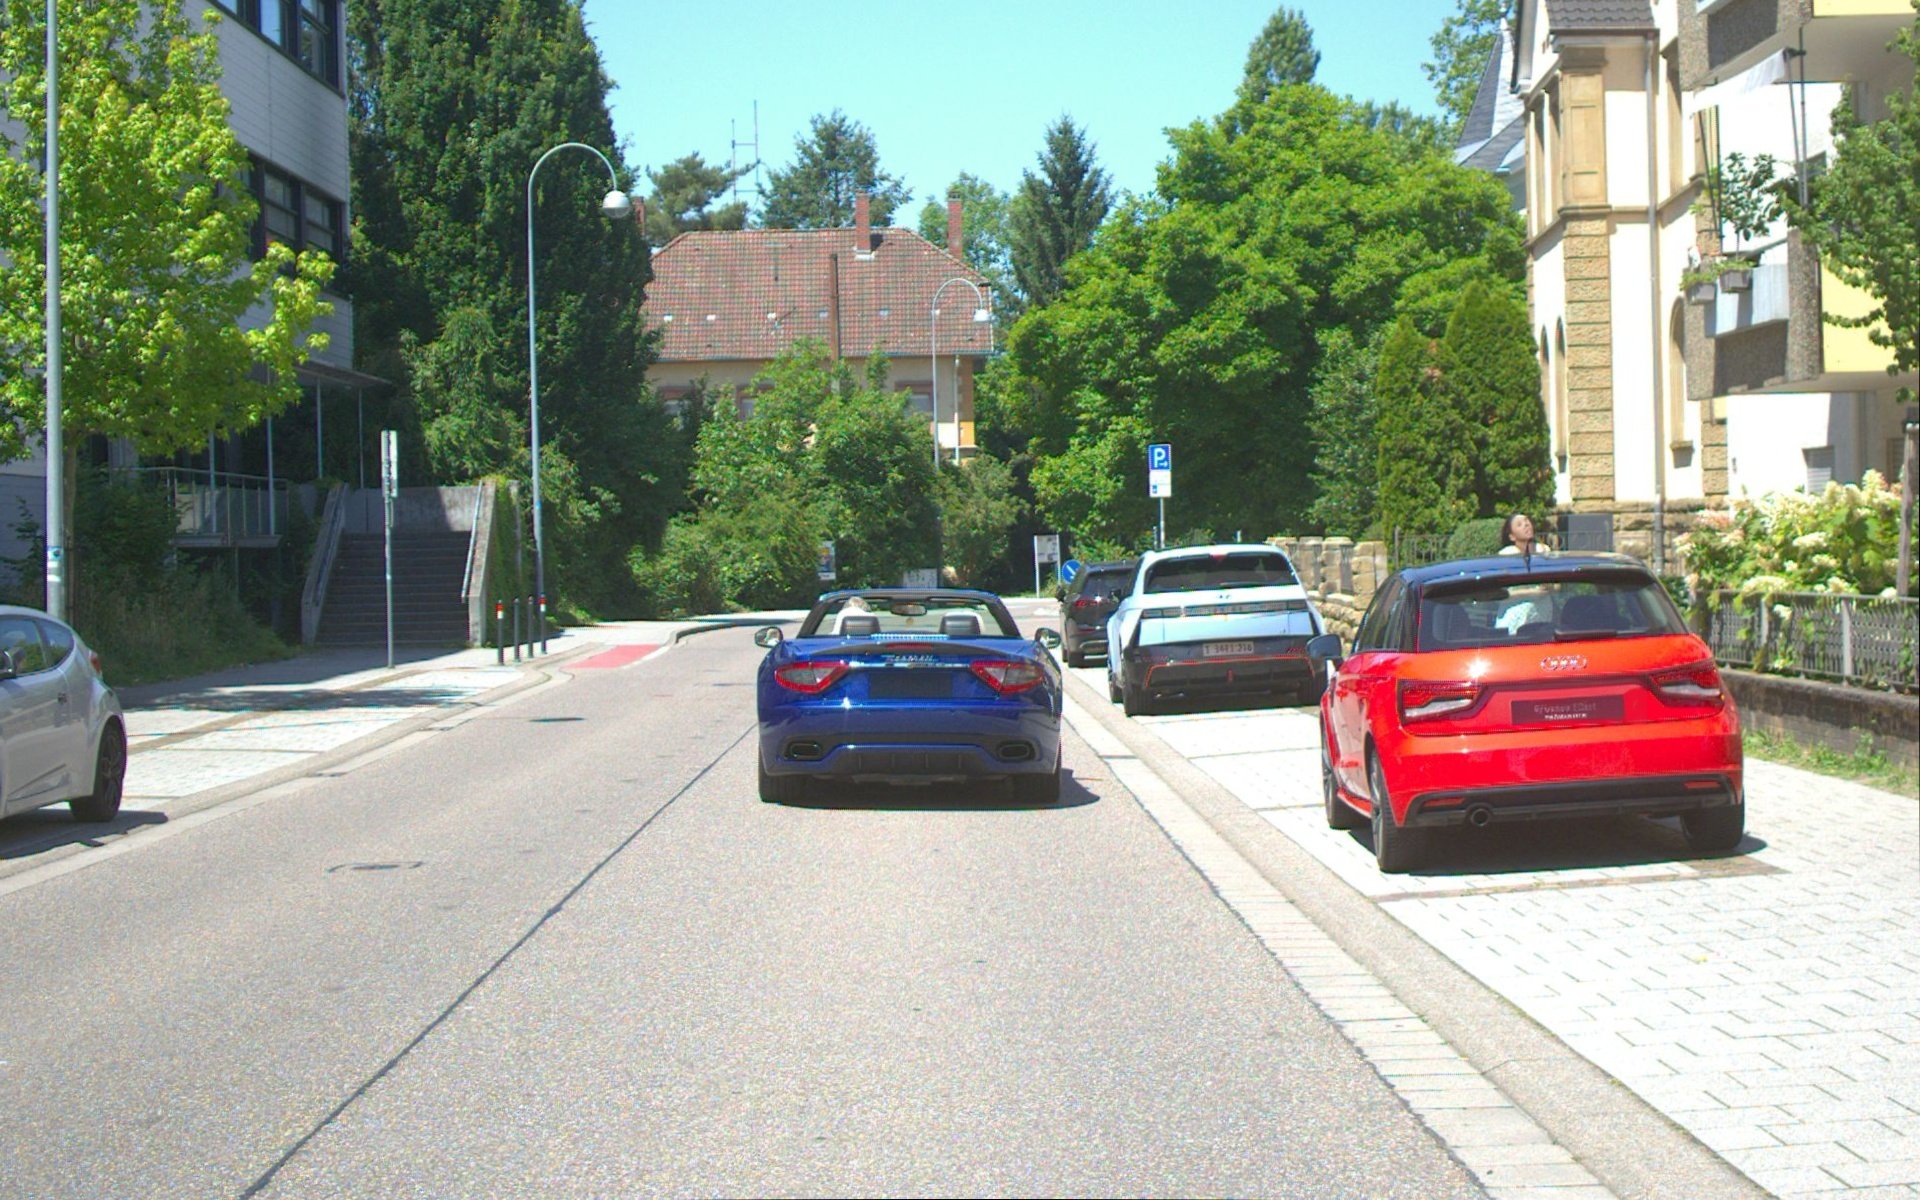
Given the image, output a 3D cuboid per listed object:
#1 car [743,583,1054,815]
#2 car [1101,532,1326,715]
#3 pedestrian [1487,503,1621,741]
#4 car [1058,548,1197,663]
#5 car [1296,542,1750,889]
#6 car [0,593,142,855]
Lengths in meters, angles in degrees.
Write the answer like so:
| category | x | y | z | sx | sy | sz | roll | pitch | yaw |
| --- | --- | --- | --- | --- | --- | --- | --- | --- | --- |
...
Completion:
| category | x | y | z | sx | sy | sz | roll | pitch | yaw |
| --- | --- | --- | --- | --- | --- | --- | --- | --- | --- |
| car | -0.381 | 0.576 | 22.732 | 1.826 | 1.332 | 4.700 | 1 | 1 | 0 |
| car | 2.453 | 0.187 | 34.208 | 1.843 | 1.614 | 4.427 | -3 | 1 | 0 |
| pedestrian | 4.335 | 0.154 | 25.120 | 0.740 | 1.664 | 0.706 | -4 | 1 | -2 |
| car | 2.321 | 0.045 | 48.648 | 1.631 | 1.441 | 4.398 | -4 | 1 | 0 |
| car | 2.690 | 0.484 | 17.208 | 1.603 | 1.436 | 3.853 | -4 | 1 | 1 |
| car | -6.162 | 0.685 | 20.133 | 1.748 | 1.404 | 3.933 | 1 | 1 | 1 |
